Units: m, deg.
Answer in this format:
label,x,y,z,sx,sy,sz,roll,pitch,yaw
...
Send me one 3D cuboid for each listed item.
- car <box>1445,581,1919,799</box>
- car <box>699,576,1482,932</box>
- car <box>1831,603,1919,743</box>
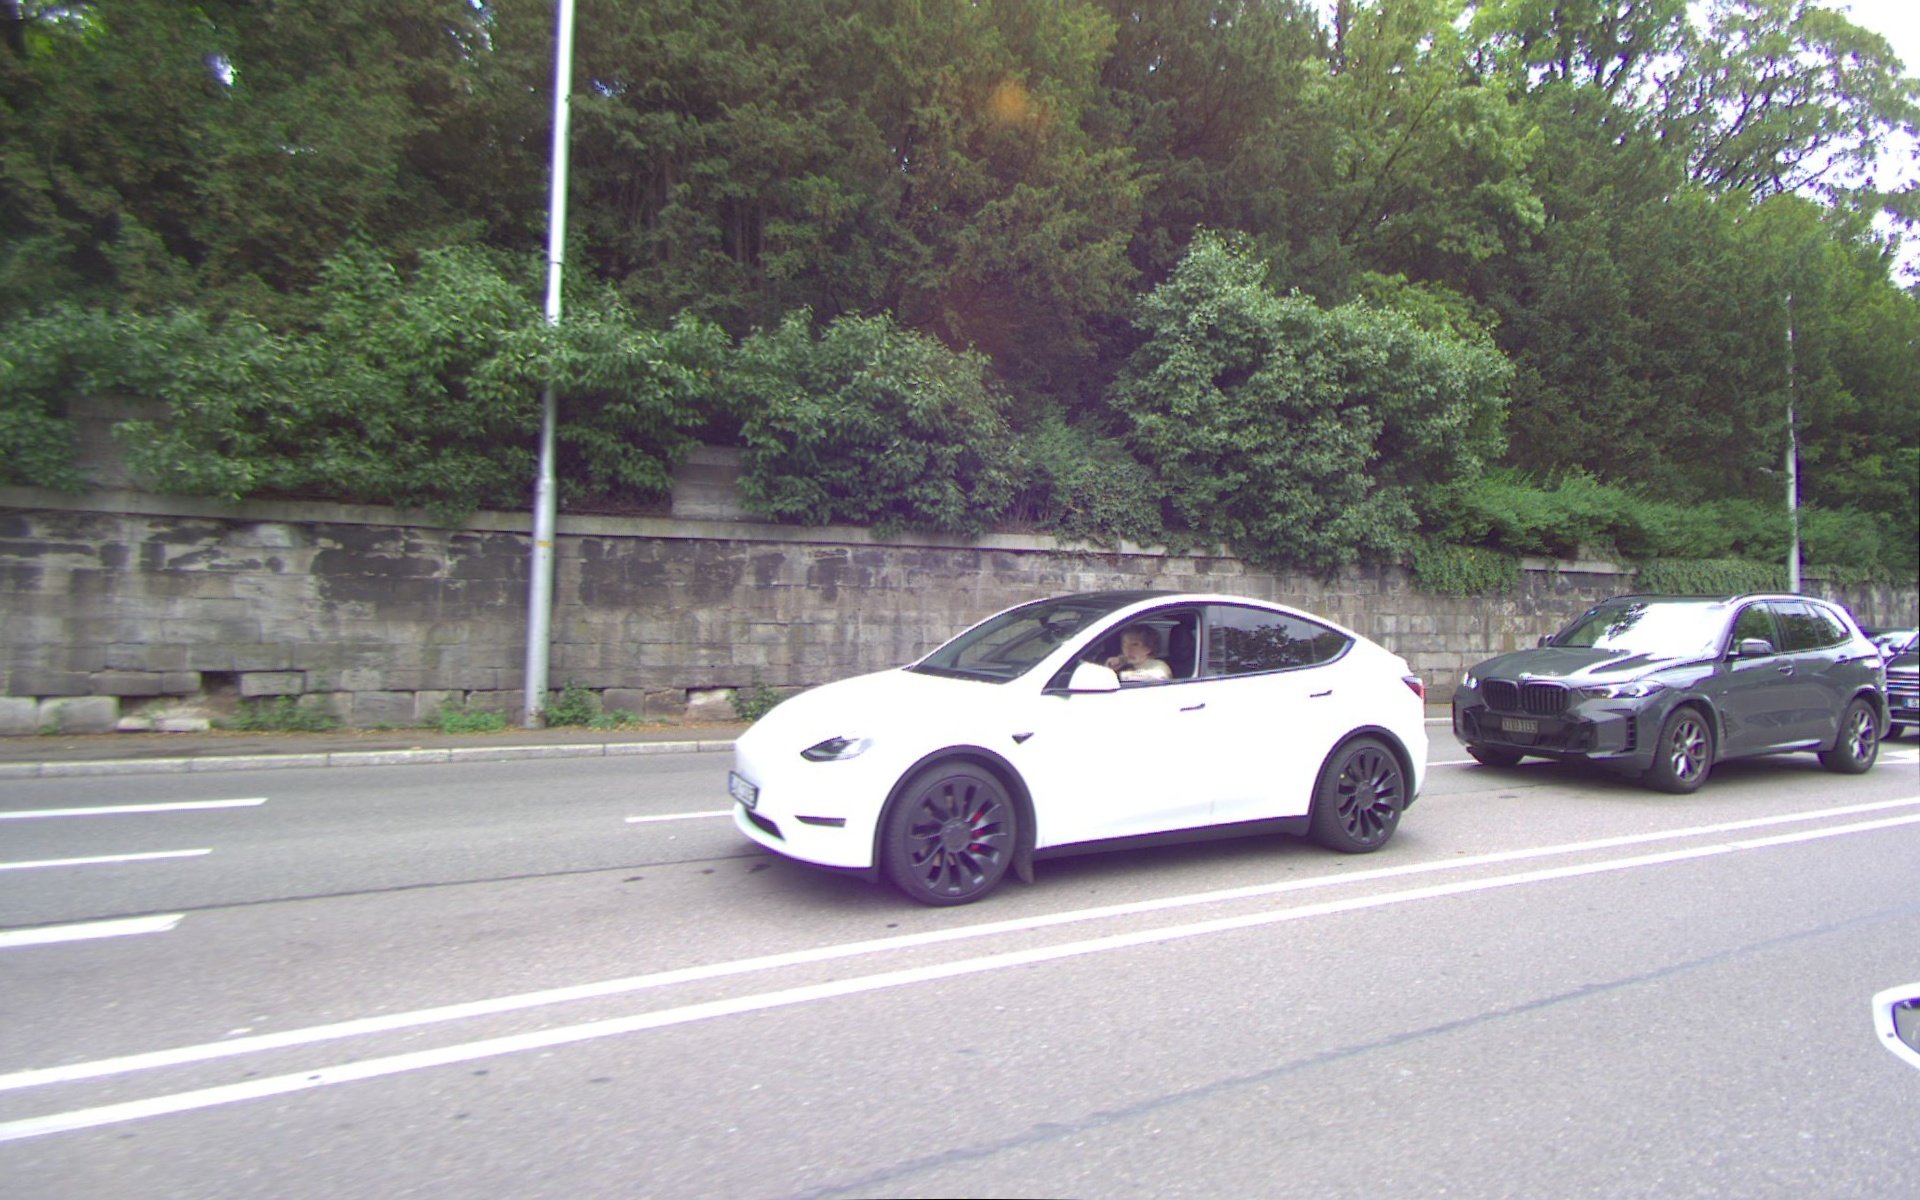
label,x,y,z,sx,sy,sz,roll,pitch,yaw
car,7.365,0.789,10.115,4.814,1.773,1.953,1,-2,-27
car,0.926,0.717,6.347,4.726,1.575,1.831,1,-1,-27
car,13.591,0.905,13.068,4.565,1.673,1.841,1,-2,-27
